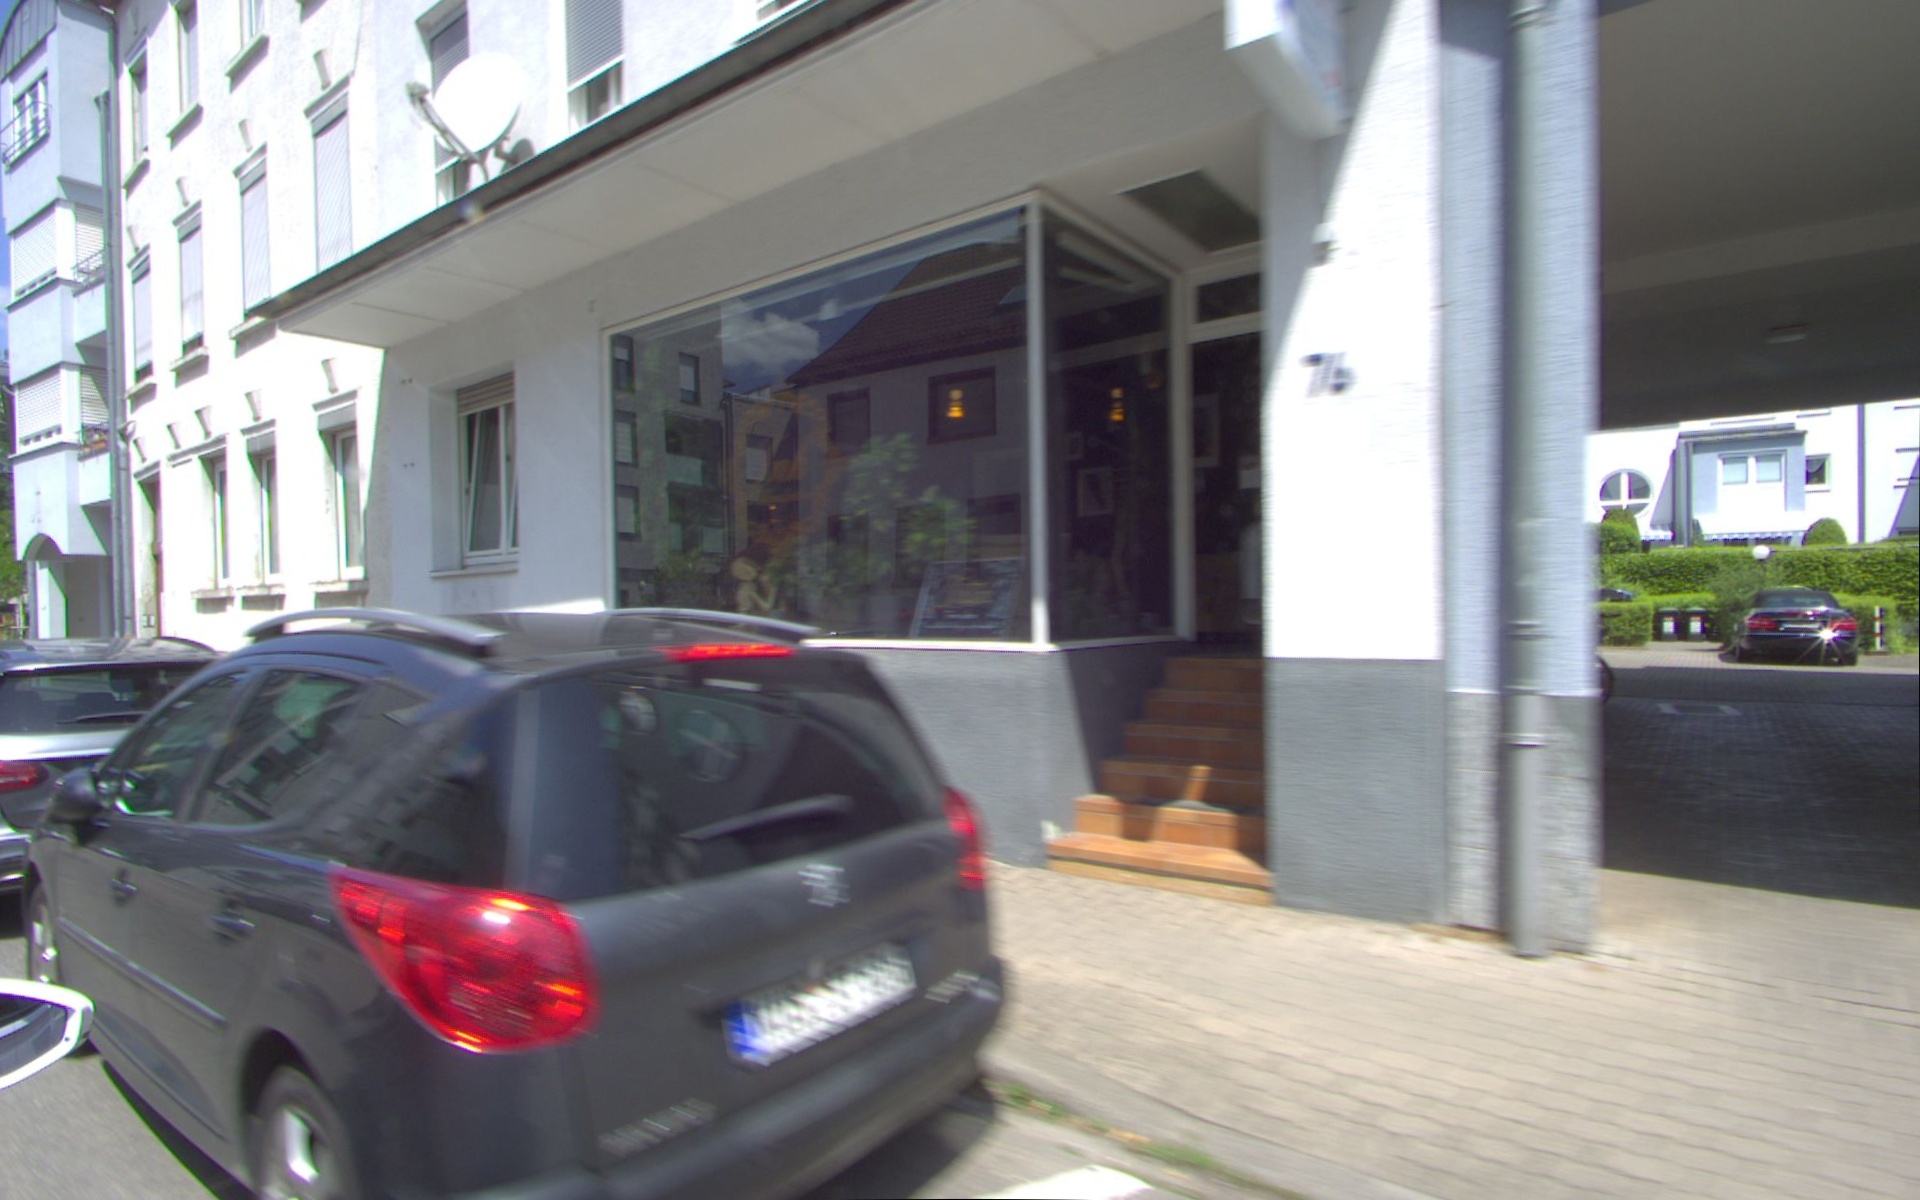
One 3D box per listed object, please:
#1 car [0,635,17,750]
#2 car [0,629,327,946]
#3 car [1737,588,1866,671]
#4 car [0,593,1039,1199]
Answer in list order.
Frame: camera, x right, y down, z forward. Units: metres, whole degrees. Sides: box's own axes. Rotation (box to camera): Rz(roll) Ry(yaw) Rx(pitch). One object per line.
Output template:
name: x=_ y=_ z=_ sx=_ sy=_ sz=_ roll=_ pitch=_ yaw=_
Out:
car: x=-13.584 y=1.170 z=12.814 sx=3.493 sy=1.404 sz=1.613 roll=-1 pitch=0 yaw=37
car: x=-5.938 y=0.935 z=6.469 sx=4.489 sy=1.439 sz=1.722 roll=-1 pitch=0 yaw=38
car: x=16.352 y=0.508 z=19.620 sx=1.747 sy=1.439 sz=3.971 roll=1 pitch=1 yaw=38
car: x=-1.850 y=0.788 z=3.363 sx=3.951 sy=1.528 sz=1.702 roll=-1 pitch=0 yaw=39
